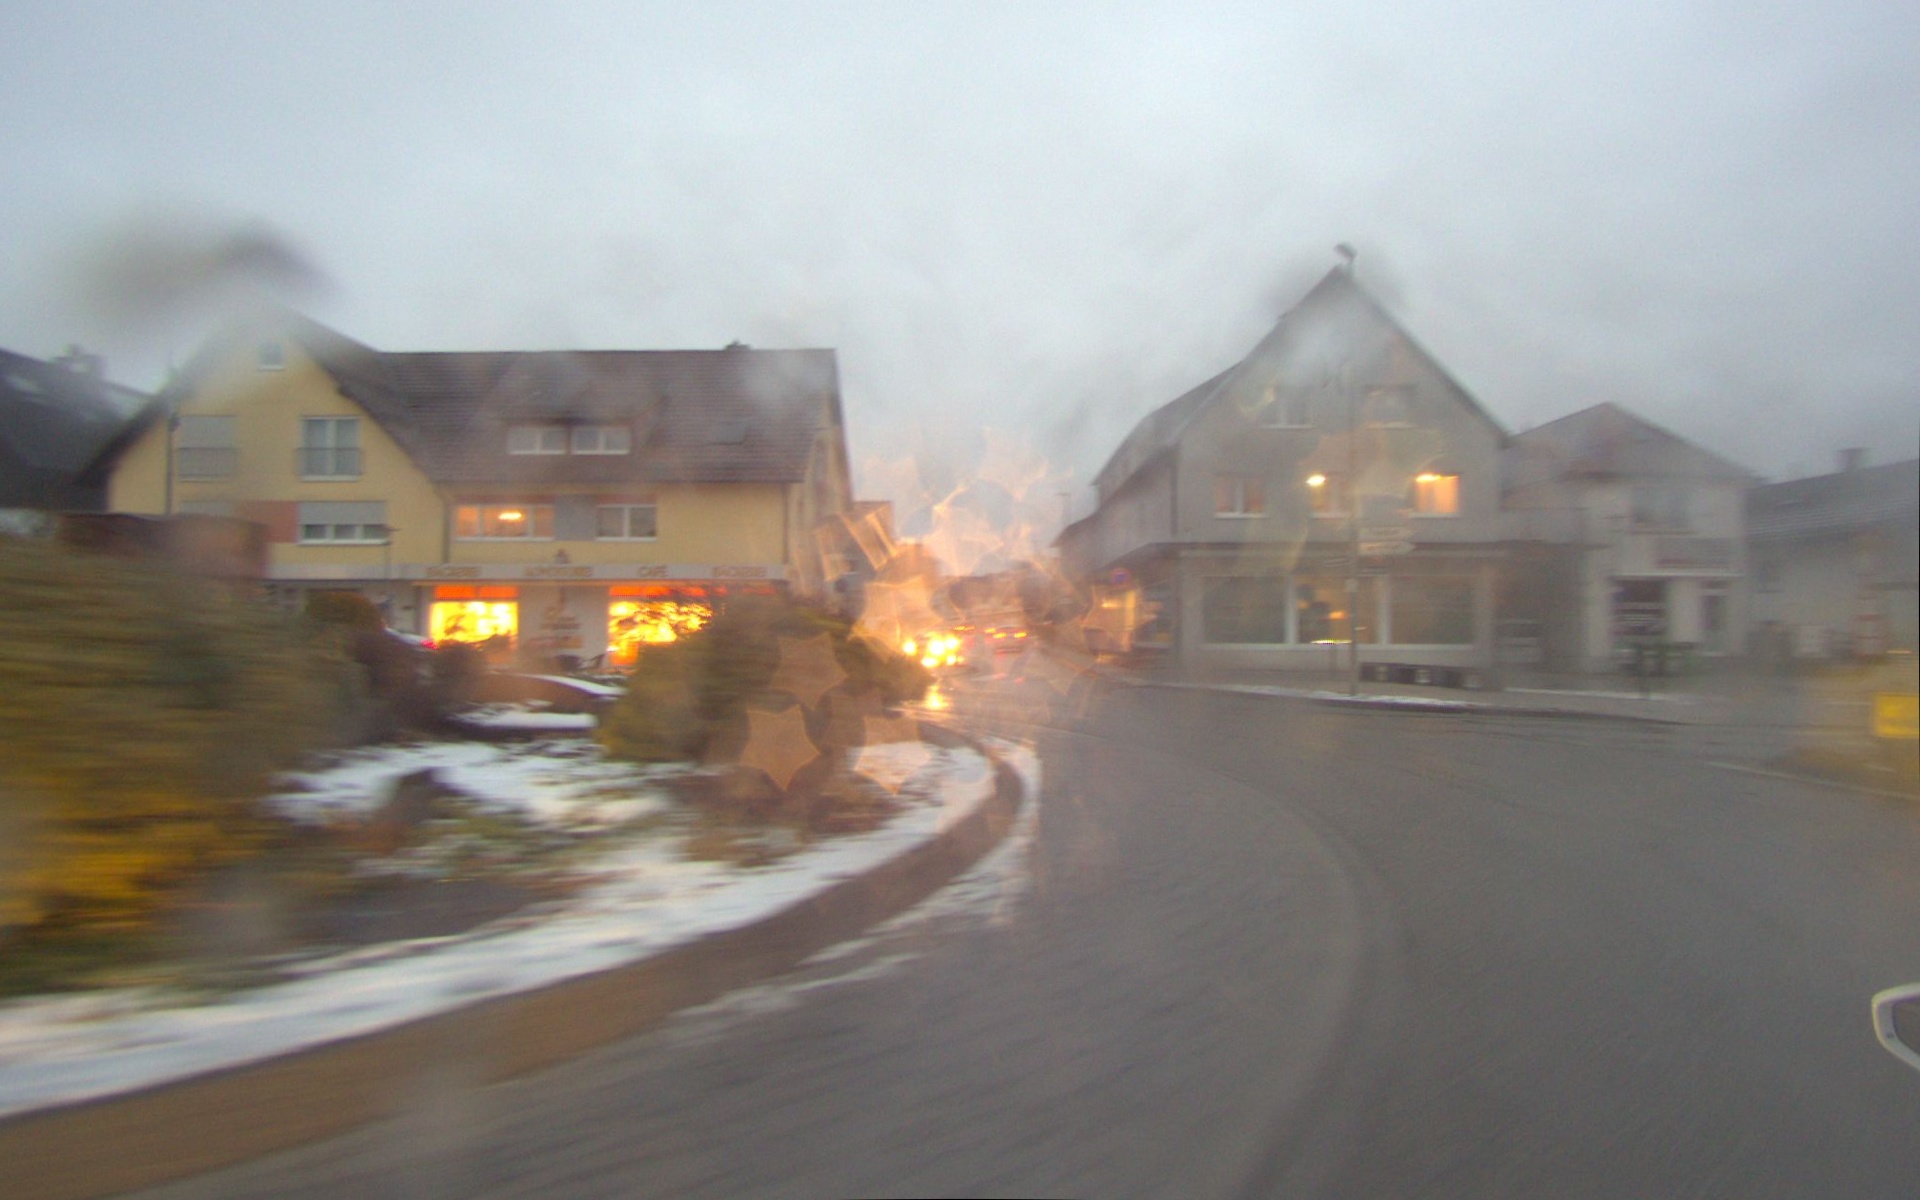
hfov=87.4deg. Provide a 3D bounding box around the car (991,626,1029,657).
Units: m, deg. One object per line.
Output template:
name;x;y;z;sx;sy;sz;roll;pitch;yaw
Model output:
car;2.736;2.284;55.720;1.902;1.639;3.866;-1;-1;0

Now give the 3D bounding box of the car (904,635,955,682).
car;-1.317;2.380;41.835;1.962;1.791;4.367;0;-1;-4

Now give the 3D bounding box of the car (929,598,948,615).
car;-2.212;0.687;101.822;1.843;1.705;3.999;0;-1;-2

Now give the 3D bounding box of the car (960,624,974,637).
car;0.929;4.081;133.876;1.902;1.639;3.866;-1;-1;0

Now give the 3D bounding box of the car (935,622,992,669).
car;0.088;1.449;32.719;1.736;1.422;3.915;-1;-1;0

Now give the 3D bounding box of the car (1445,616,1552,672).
car;18.709;1.498;35.112;1.773;1.821;4.002;-1;-1;3

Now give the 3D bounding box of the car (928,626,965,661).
car;-0.714;2.351;55.008;1.961;1.791;4.369;-1;-1;0

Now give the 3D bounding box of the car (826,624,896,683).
car;-3.156;1.595;31.318;1.963;1.688;4.363;0;-1;-8
